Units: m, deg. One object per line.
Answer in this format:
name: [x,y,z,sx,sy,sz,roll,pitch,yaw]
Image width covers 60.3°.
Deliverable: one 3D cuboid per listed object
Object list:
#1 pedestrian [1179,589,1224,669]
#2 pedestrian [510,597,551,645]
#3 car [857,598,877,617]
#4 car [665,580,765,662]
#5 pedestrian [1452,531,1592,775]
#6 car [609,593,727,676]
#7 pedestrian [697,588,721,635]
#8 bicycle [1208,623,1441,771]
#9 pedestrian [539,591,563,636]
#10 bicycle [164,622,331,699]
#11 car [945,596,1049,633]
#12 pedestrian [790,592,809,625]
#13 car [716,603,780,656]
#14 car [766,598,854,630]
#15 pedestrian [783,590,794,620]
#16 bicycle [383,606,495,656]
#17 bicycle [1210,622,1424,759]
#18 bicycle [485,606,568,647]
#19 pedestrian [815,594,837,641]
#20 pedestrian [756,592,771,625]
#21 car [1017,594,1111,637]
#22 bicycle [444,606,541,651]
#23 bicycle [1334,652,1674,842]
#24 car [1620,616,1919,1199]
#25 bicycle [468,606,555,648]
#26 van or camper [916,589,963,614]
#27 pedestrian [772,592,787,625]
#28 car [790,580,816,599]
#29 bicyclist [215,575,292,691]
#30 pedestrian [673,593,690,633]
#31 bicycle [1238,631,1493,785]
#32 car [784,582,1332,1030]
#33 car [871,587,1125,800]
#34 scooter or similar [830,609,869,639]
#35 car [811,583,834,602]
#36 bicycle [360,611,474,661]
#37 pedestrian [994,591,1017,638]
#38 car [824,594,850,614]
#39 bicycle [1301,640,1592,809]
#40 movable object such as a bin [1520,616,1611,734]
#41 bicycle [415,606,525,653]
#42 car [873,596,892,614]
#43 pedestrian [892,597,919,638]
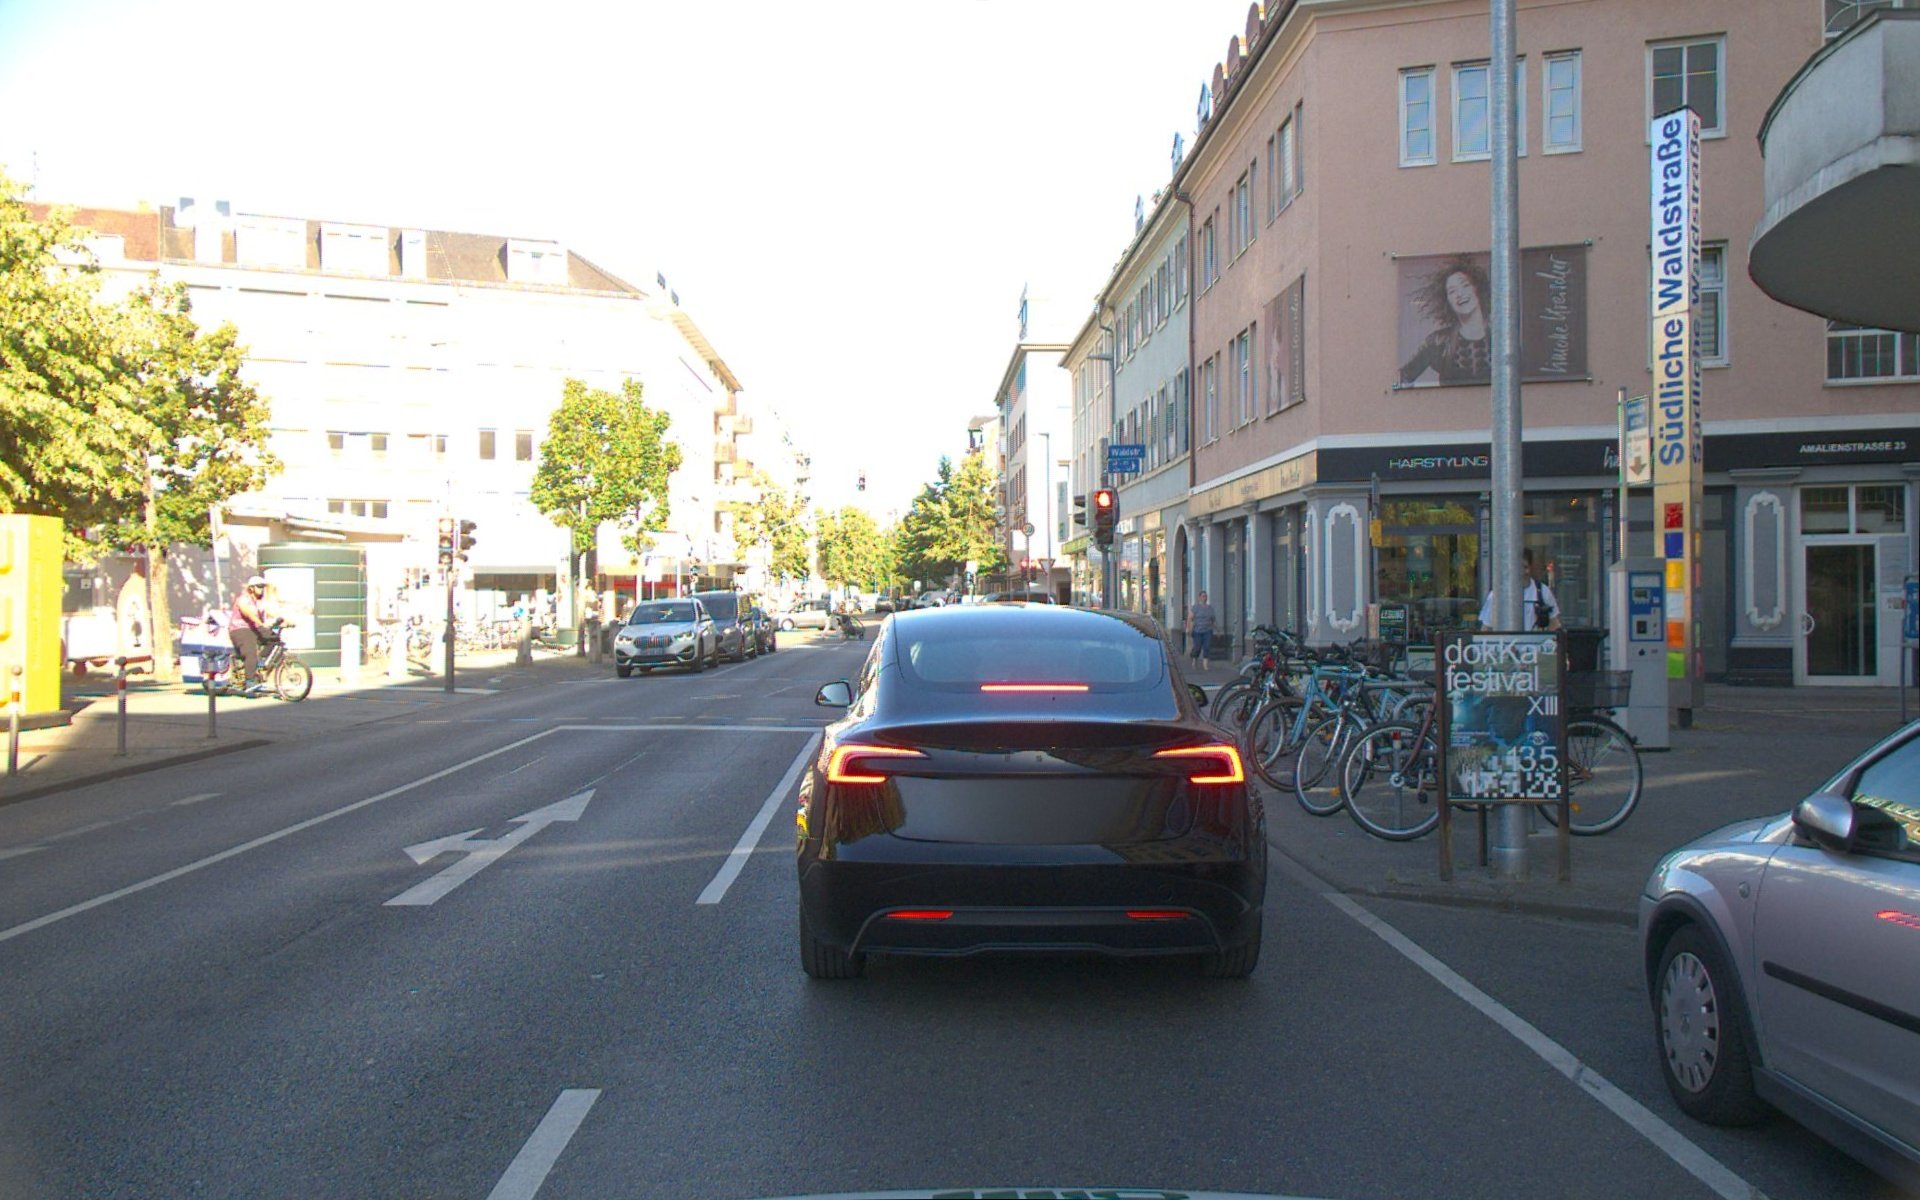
pedestrian: [4.846,0.579,33.205,0.773,1.576,0.724,1,-1,0]
pedestrian: [-15.062,0.735,57.967,1.081,1.639,1.254,1,-1,-30]
car: [-10.497,0.837,186.953,2.089,2.004,4.133,0,0,-1]
car: [-6.229,0.509,42.552,1.906,1.981,4.819,0,0,-1]
pedestrian: [4.446,0.406,13.145,0.792,1.855,0.983,1,-1,2]
car: [-6.321,0.713,36.224,1.788,1.592,4.299,-3,0,-1]
pedestrian: [-9.690,0.432,63.943,0.830,1.790,0.704,1,-1,-15]
bicycle: [2.980,0.785,13.626,1.776,1.172,0.653,0,0,0]
pedestrian: [-19.095,0.633,77.148,0.910,2.049,0.852,1,-1,-24]
bicycle: [-11.122,0.941,25.843,2.339,1.171,0.713,0,-1,6]
car: [1.939,0.731,85.825,5.124,1.899,1.871,0,0,-23]
pedestrian: [-9.325,0.520,96.013,0.719,1.900,0.790,1,-1,28]
car: [-6.333,0.857,49.678,1.431,1.455,3.605,-3,0,-1]
car: [-7.324,0.675,80.799,4.062,1.557,1.541,0,0,-22]
pedestrian: [-10.763,0.318,103.701,0.681,1.900,0.658,1,-1,-6]
bicycle: [-14.121,0.846,44.910,2.725,1.296,0.932,1,0,-4]
bicycle: [3.164,0.793,14.763,1.776,1.172,0.653,0,0,0]
bicycle: [-14.225,0.861,54.326,2.491,1.273,0.942,1,0,-4]
pedestrian: [-5.169,0.682,63.679,0.649,1.790,0.649,1,-1,-24]
pedestrian: [-11.471,0.485,96.739,0.721,1.900,0.787,1,-1,-17]
car: [4.715,0.706,74.727,3.937,1.900,1.686,0,0,-22]
bicycle: [-14.007,0.849,49.630,2.609,1.281,0.942,1,0,-4]
bicycle: [3.280,0.876,10.077,1.844,1.062,0.653,-1,0,0]
car: [2.923,0.782,3.524,1.551,1.451,3.579,1,0,-1]
bicycle: [-14.059,0.853,51.904,2.491,1.273,0.942,1,0,-4]
van or camper: [-2.064,0.178,167.506,4.752,2.481,1.850,0,0,-1]
pedestrian: [-10.564,0.502,96.993,0.721,1.900,0.787,1,-1,-17]
car: [-17.014,-1.122,179.393,2.228,2.049,4.717,1,0,0]
bicyclist: [-11.037,0.516,25.839,0.845,1.786,0.681,0,-1,6]
pedestrian: [-10.996,0.523,65.354,0.613,1.550,0.577,1,-1,-14]
bicycle: [3.051,0.806,12.553,1.776,1.121,0.653,0,0,0]
car: [0.301,0.701,7.758,1.812,1.472,4.450,1,0,-1]
car: [0.245,0.687,14.182,1.812,1.507,4.450,1,0,-1]
scooter or similar: [-4.275,0.921,64.121,1.317,1.154,0.803,1,-1,-25]
car: [-15.597,-0.810,188.049,2.228,2.049,4.717,1,0,0]
bicycle: [-13.947,0.928,42.573,2.607,1.216,0.942,1,0,-4]
pedestrian: [1.895,0.604,68.510,0.692,1.910,0.809,1,-1,19]
car: [-12.340,0.402,166.249,2.365,2.004,4.677,0,0,-1]
bicycle: [3.251,0.823,11.149,1.776,1.078,0.653,0,0,0]
movable object such as a bin: [6.044,0.733,16.536,0.623,1.122,0.728,-2,0,3]
bicycle: [-13.998,0.833,47.311,2.818,1.292,0.942,1,0,-4]
car: [-7.881,0.505,168.111,1.854,1.845,3.923,1,0,-2]
pedestrian: [-2.192,0.690,66.512,0.800,1.637,0.700,1,-1,-38]
